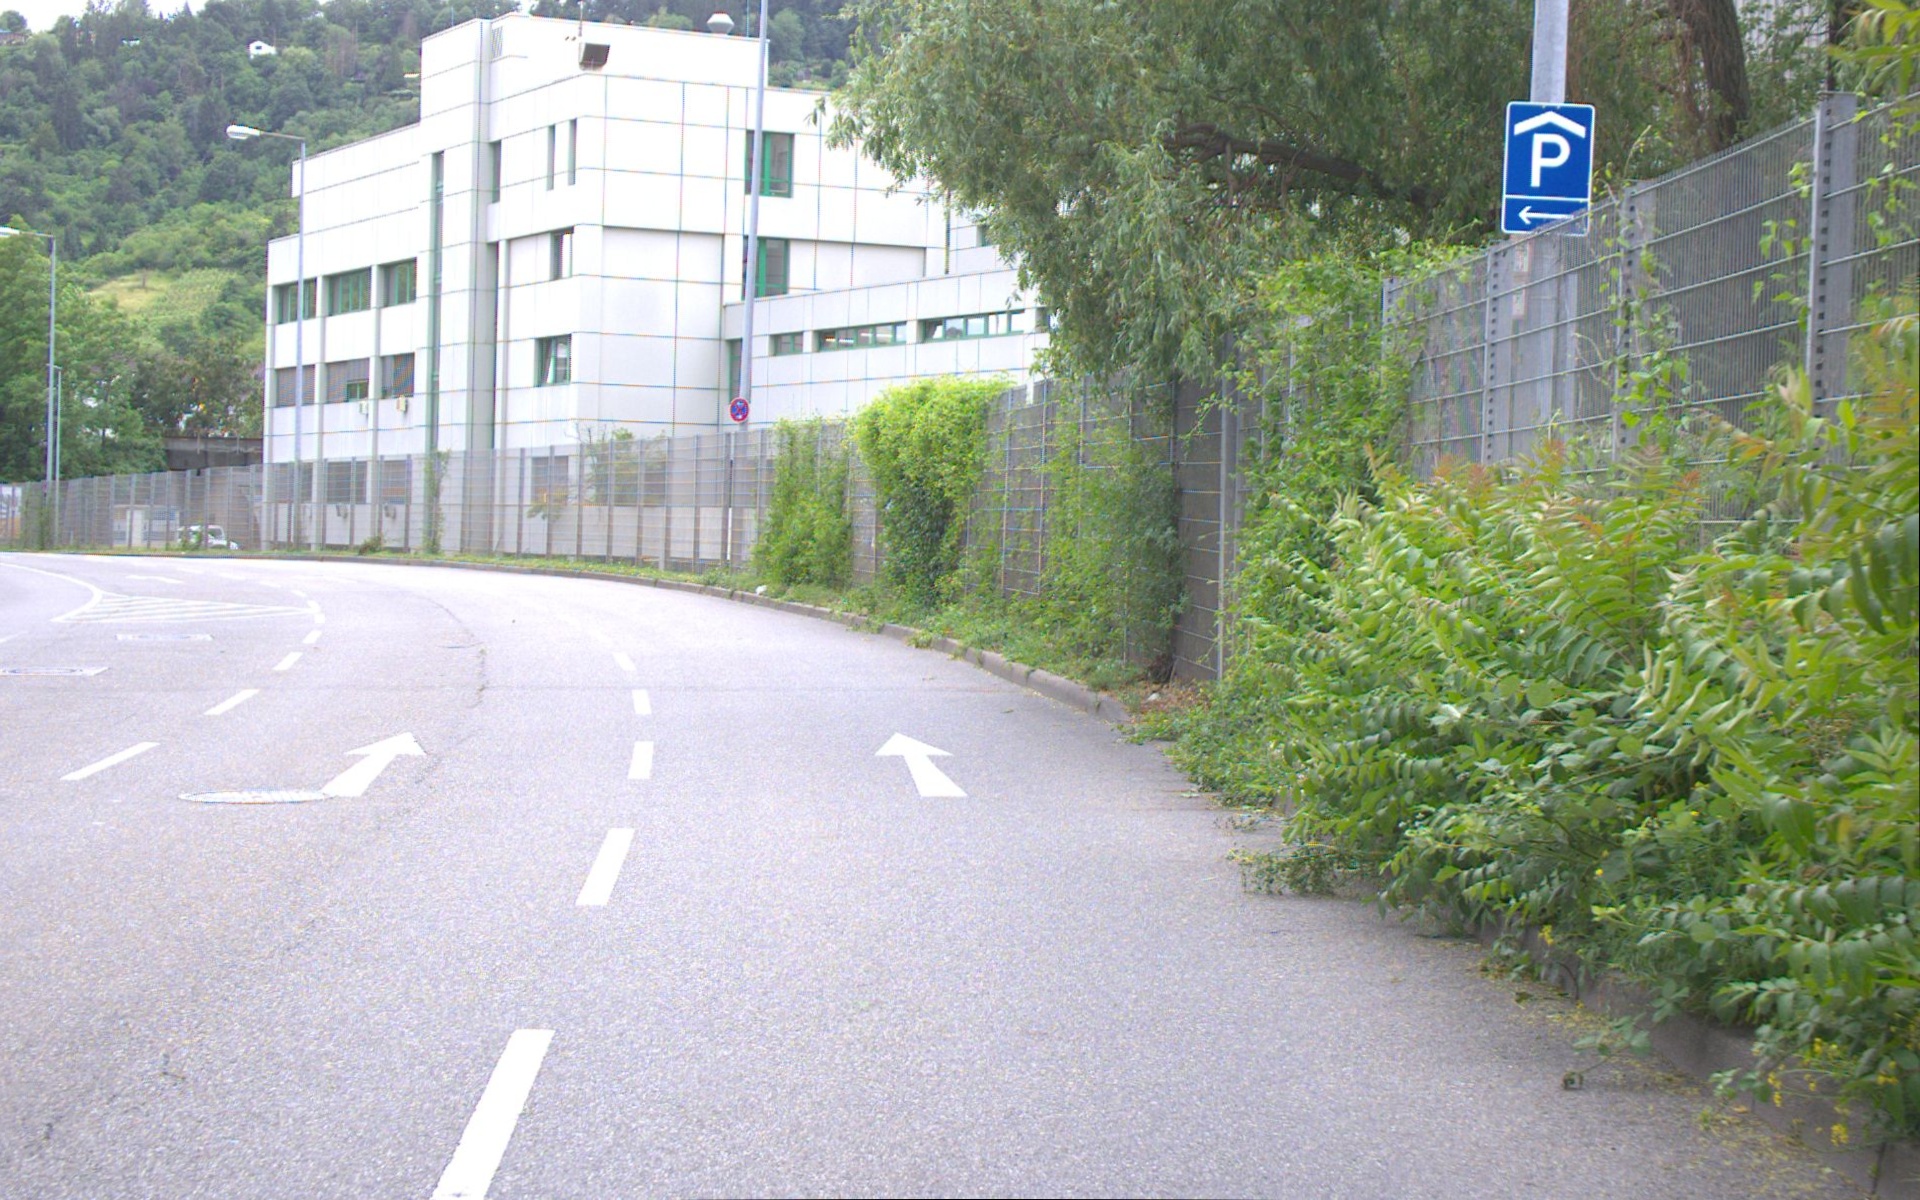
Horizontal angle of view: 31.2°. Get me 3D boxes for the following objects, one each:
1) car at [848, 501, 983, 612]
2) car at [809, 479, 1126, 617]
[{"bbox_3d":[-0.900,-0.805,66.188,1.993,2.007,4.847,2,0,-7],"label":"car"},{"bbox_3d":[0.067,-0.997,63.845,6.166,2.255,1.995,4,1,45],"label":"car"}]
